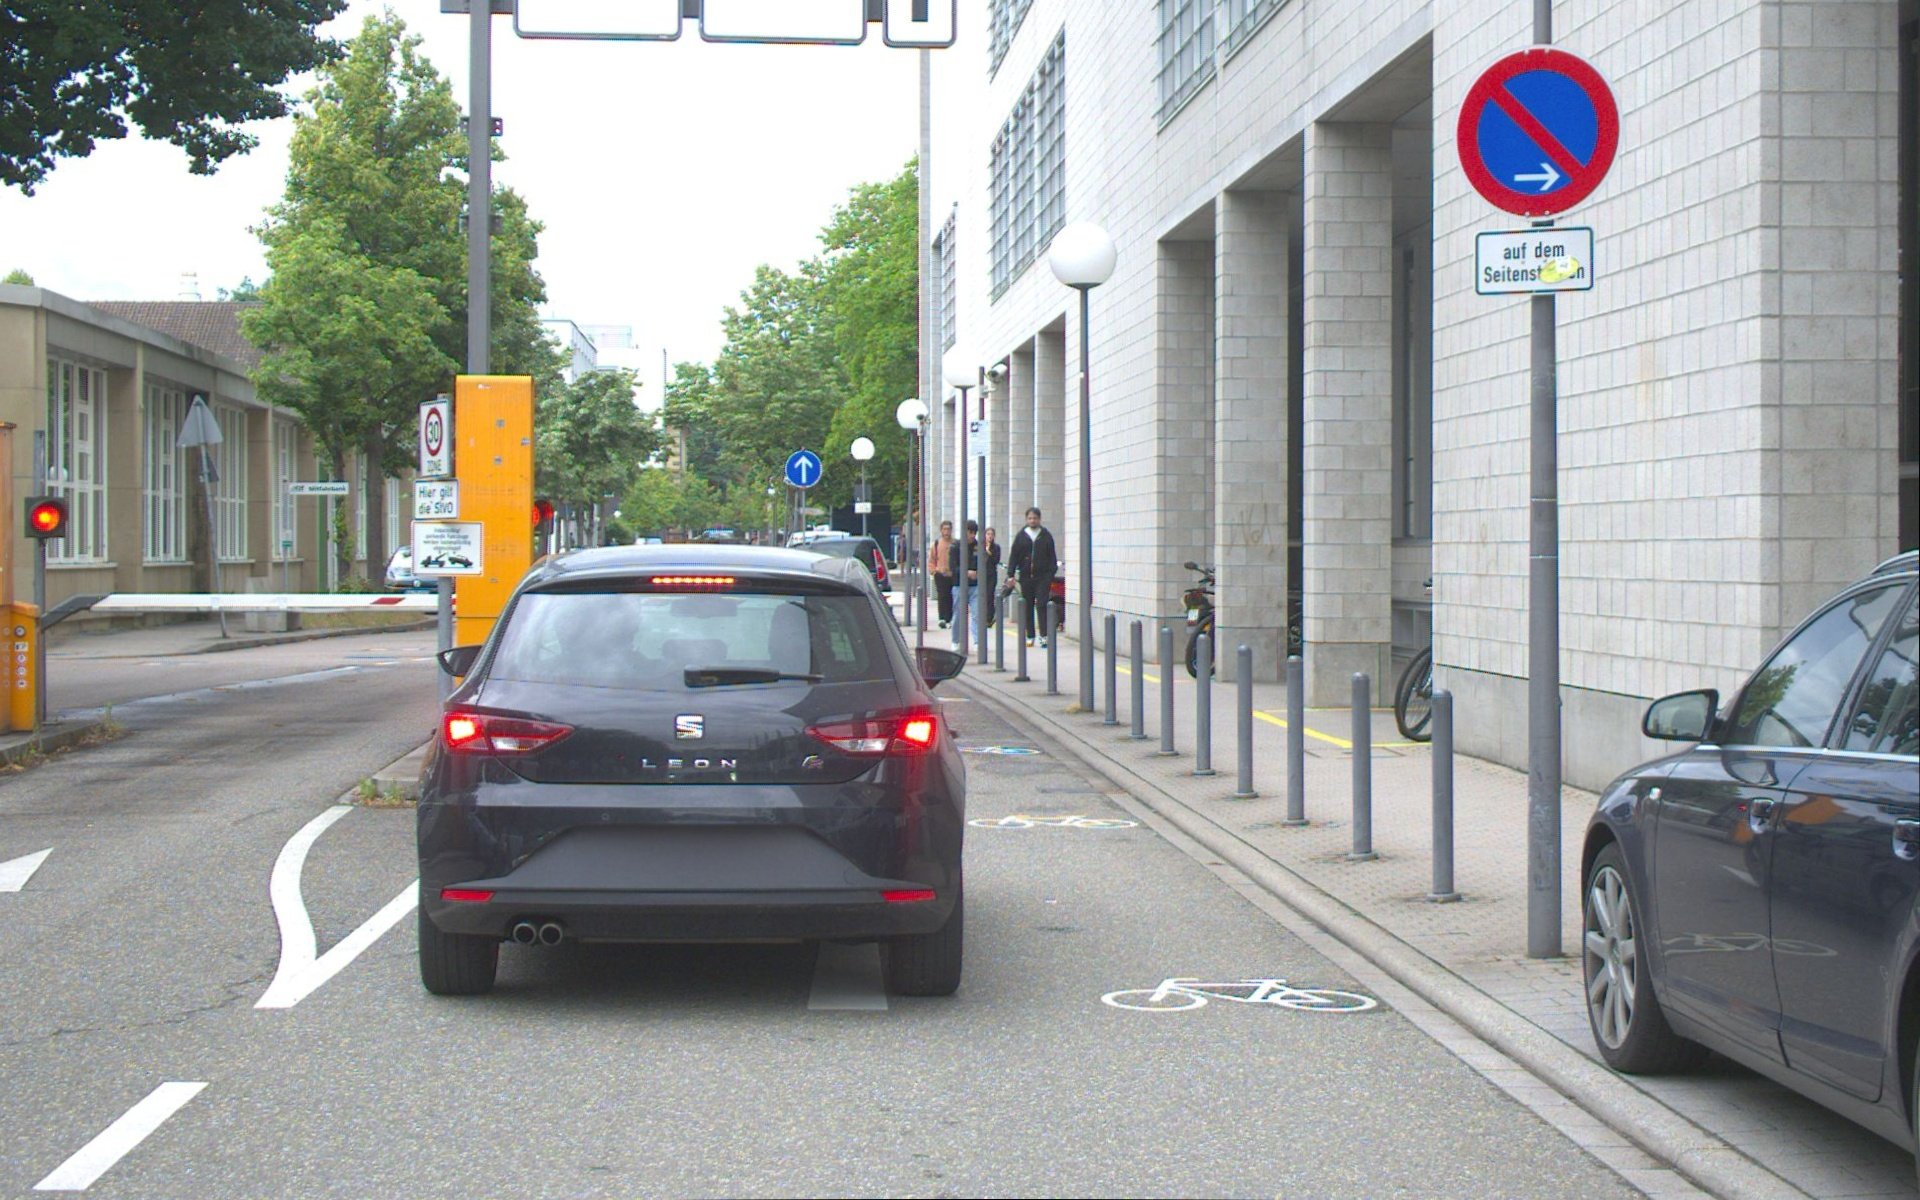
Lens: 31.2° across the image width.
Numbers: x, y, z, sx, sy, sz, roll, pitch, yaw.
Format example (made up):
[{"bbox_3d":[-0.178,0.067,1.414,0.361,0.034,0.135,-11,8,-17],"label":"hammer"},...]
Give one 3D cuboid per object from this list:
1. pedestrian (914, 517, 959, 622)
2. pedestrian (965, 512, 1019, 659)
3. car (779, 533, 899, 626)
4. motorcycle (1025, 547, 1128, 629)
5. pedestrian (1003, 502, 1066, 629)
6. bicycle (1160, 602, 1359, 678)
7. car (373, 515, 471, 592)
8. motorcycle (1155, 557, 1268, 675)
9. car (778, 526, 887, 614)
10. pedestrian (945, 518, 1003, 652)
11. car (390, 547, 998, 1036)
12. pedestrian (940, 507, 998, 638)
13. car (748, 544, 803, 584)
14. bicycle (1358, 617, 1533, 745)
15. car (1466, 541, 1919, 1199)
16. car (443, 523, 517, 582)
[{"bbox_3d":[-0.385,-0.496,56.489,0.696,1.708,0.489,1,1,1],"label":"pedestrian"},{"bbox_3d":[0.373,-0.177,40.603,0.611,1.708,0.574,-1,1,-1],"label":"pedestrian"},{"bbox_3d":[-2.247,-0.377,62.556,1.993,1.617,4.429,-1,0,-4],"label":"car"},{"bbox_3d":[1.839,-0.201,53.888,0.760,1.144,2.660,3,3,21],"label":"motorcycle"},{"bbox_3d":[1.002,-0.474,46.642,0.727,1.693,0.588,1,3,-8],"label":"pedestrian"},{"bbox_3d":[2.971,0.395,34.157,1.896,0.696,0.493,1,3,-7],"label":"bicycle"},{"bbox_3d":[-11.562,-1.009,74.082,1.770,1.595,4.001,0,1,-4],"label":"car"},{"bbox_3d":[2.743,0.153,37.261,0.566,1.144,2.215,2,3,21],"label":"motorcycle"},{"bbox_3d":[-2.517,-0.610,67.076,1.993,1.617,4.429,-1,1,-3],"label":"car"},{"bbox_3d":[0.175,-0.194,44.040,0.696,1.708,0.489,1,1,-2],"label":"pedestrian"},{"bbox_3d":[-0.927,0.539,12.249,1.782,1.414,4.130,1,1,-4],"label":"car"},{"bbox_3d":[0.114,-0.369,45.361,0.689,1.693,0.588,1,3,-3],"label":"pedestrian"},{"bbox_3d":[-7.001,-1.374,130.053,1.993,1.458,4.429,-1,1,-4],"label":"car"},{"bbox_3d":[3.421,0.551,24.059,0.463,0.749,2.292,-4,0,26],"label":"bicycle"},{"bbox_3d":[2.695,0.589,8.177,1.993,1.447,4.923,0,1,-3],"label":"car"},{"bbox_3d":[-13.498,-1.352,96.804,1.770,1.595,4.001,0,1,-4],"label":"car"}]
